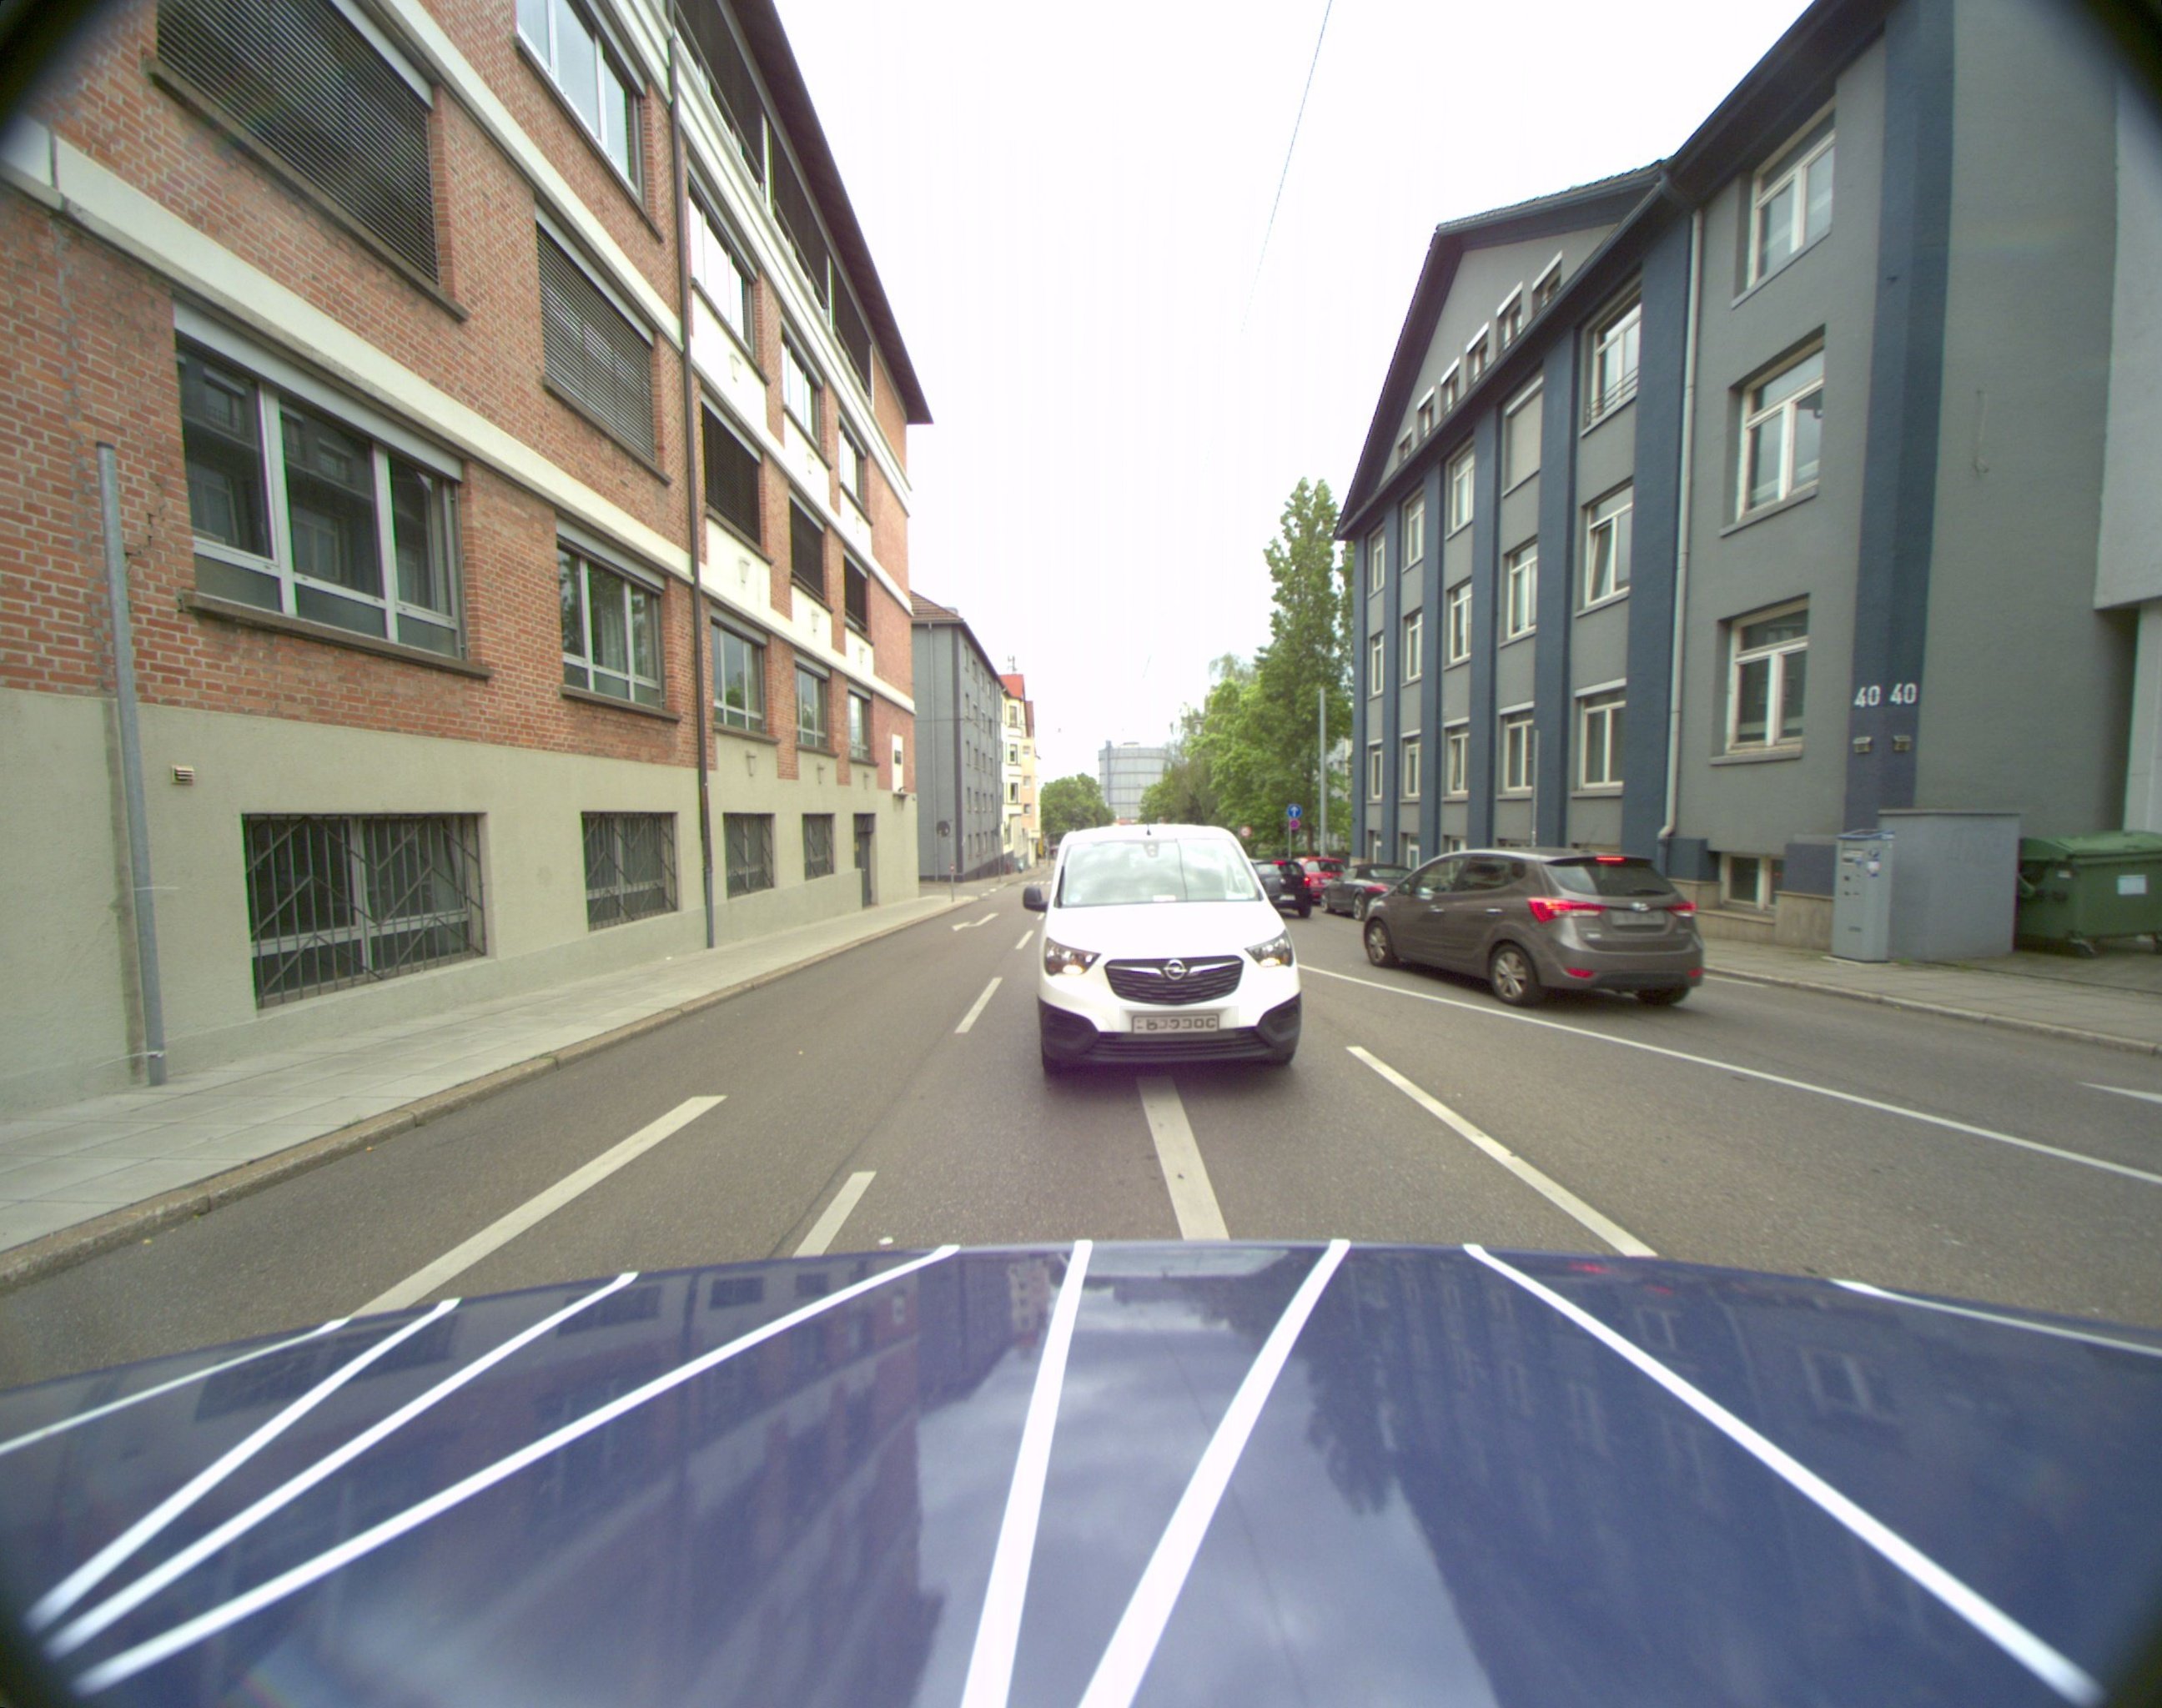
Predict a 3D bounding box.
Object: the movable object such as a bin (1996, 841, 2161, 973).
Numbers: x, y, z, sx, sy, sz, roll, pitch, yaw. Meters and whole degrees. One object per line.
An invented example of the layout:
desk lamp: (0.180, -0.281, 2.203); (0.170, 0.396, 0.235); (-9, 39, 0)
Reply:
movable object such as a bin: (12.084, 0.607, 9.088); (1.267, 1.448, 0.784); (-3, 2, 4)

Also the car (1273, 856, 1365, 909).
car: (7.476, 0.846, 24.265); (1.819, 1.465, 3.869); (2, 0, 2)

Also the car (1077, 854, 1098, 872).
car: (0.600, 0.769, 67.740); (1.724, 1.486, 3.727); (1, 0, 2)

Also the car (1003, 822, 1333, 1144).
car: (0.549, 0.737, 6.856); (1.840, 1.797, 4.939); (-2, 0, 1)

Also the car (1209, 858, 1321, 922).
car: (4.574, 0.843, 19.410); (1.678, 1.392, 3.792); (2, 0, -4)

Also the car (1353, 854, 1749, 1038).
car: (4.876, 0.826, 8.661); (1.709, 1.578, 3.933); (2, 0, -7)

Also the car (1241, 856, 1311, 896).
car: (7.551, 0.807, 29.728); (1.724, 1.445, 3.727); (1, 0, 0)

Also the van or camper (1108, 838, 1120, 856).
van or camper: (5.170, -1.021, 119.920); (1.914, 2.754, 5.925); (1, 0, 2)

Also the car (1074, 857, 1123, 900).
car: (0.691, 0.880, 29.096); (1.724, 1.486, 3.727); (1, 0, 2)

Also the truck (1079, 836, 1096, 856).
truck: (1.331, -1.459, 142.652); (2.980, 3.394, 9.358); (-2, 0, 1)

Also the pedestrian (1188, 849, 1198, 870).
pedestrian: (9.883, 0.451, 67.001); (0.746, 1.839, 0.776); (-1, 1, 2)

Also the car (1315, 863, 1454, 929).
car: (7.216, 0.935, 18.529); (1.724, 1.319, 4.041); (2, 0, 0)

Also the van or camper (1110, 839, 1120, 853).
van or camper: (6.710, -1.552, 149.769); (1.914, 2.754, 5.925); (1, 0, 2)

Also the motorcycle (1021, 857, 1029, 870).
motorcycle: (-5.047, 0.875, 68.552); (0.566, 1.105, 1.653); (4, 0, 2)
